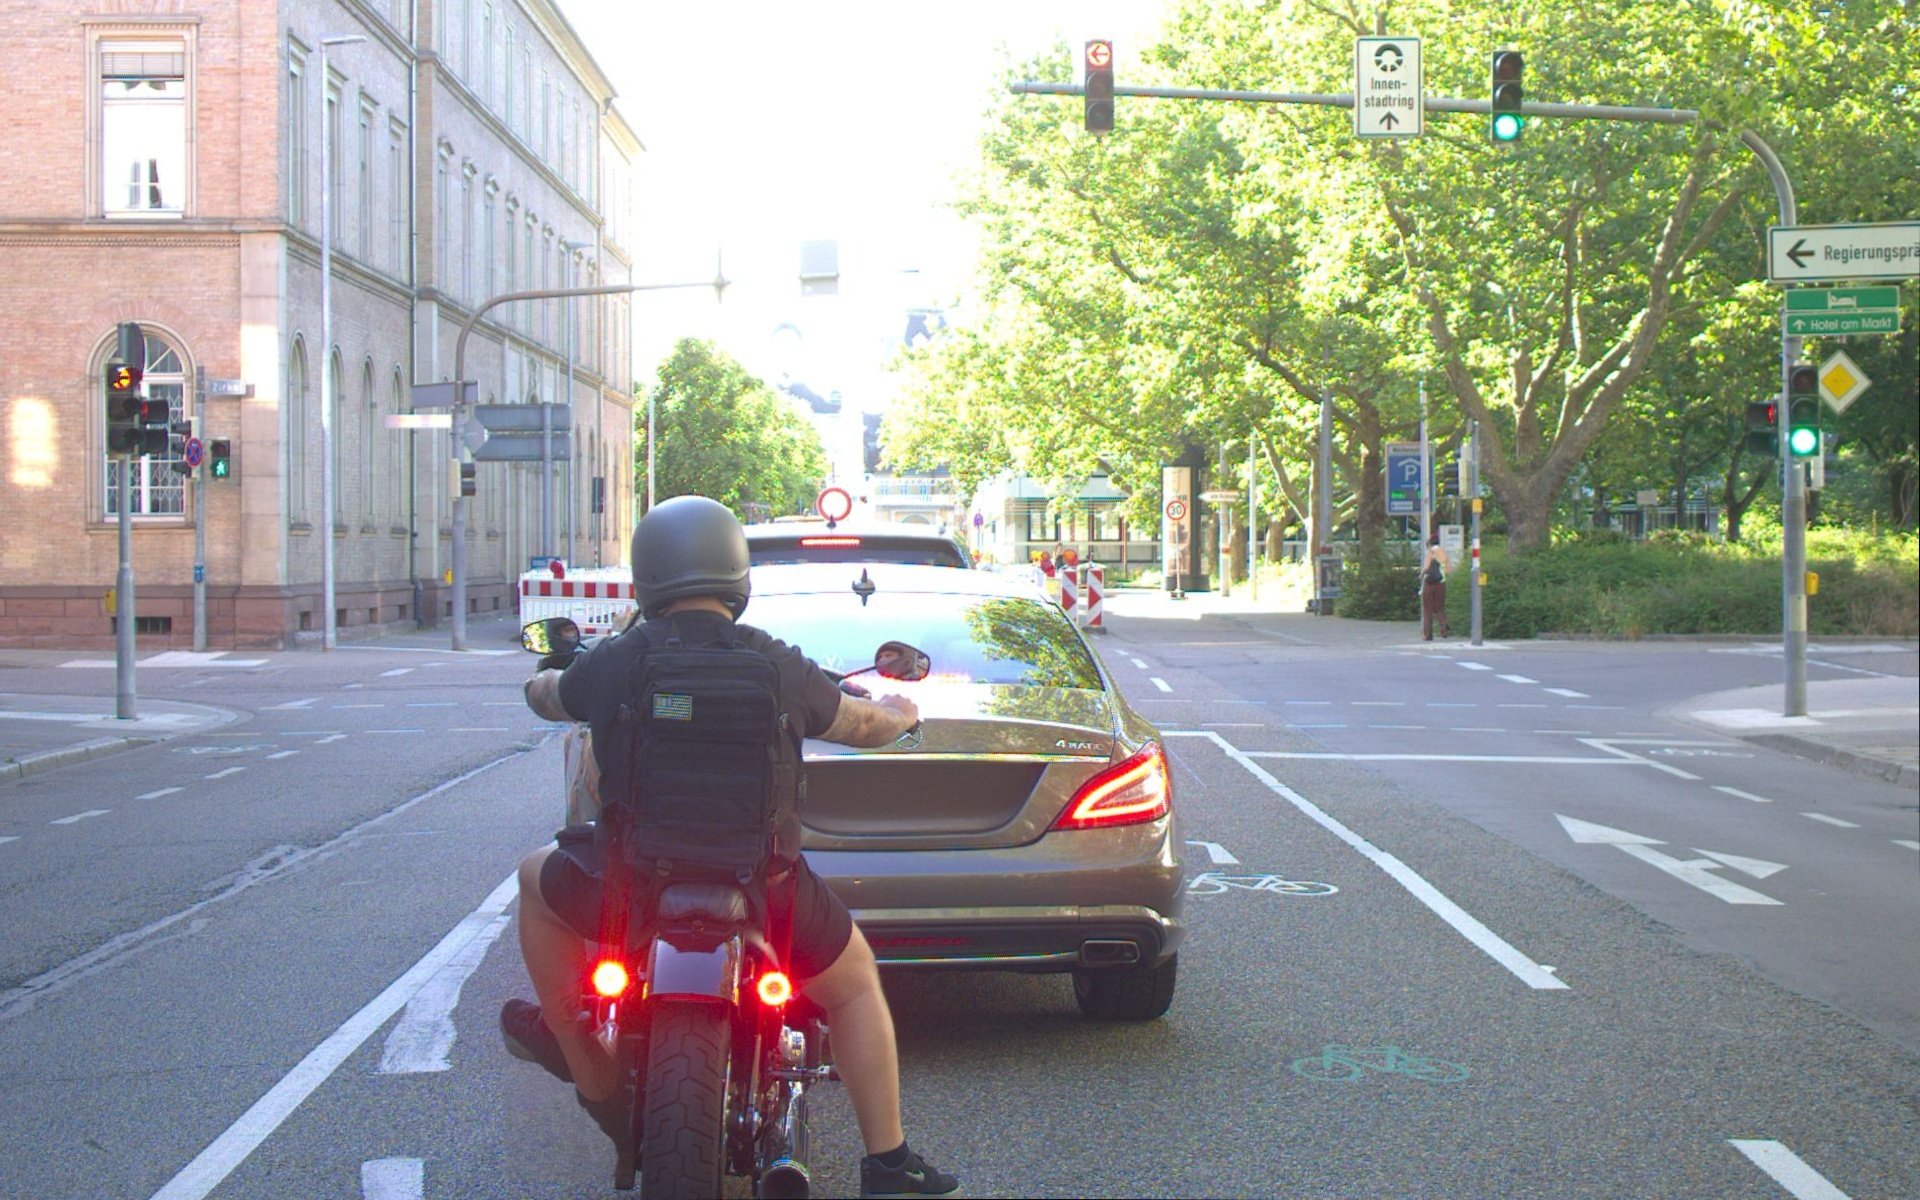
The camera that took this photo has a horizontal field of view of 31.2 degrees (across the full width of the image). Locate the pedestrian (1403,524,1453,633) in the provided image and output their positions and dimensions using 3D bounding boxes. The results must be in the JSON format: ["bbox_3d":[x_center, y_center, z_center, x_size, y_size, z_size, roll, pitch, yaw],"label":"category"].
[{"bbox_3d":[7.642,-0.348,56.130,0.615,1.766,0.679,1,0,-10],"label":"pedestrian"}]

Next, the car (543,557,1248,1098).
[{"bbox_3d":[-0.431,0.588,11.643,1.869,1.439,4.431,0,1,-8],"label":"car"}]

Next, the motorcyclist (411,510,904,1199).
[{"bbox_3d":[-0.617,0.594,7.535,0.980,1.573,1.248,0,1,-1],"label":"motorcyclist"}]

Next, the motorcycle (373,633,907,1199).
[{"bbox_3d":[-0.611,0.741,7.585,0.980,1.271,2.407,0,1,-1],"label":"motorcycle"}]

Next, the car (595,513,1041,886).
[{"bbox_3d":[-0.665,0.431,17.565,1.993,1.660,4.000,1,1,-1],"label":"car"}]
